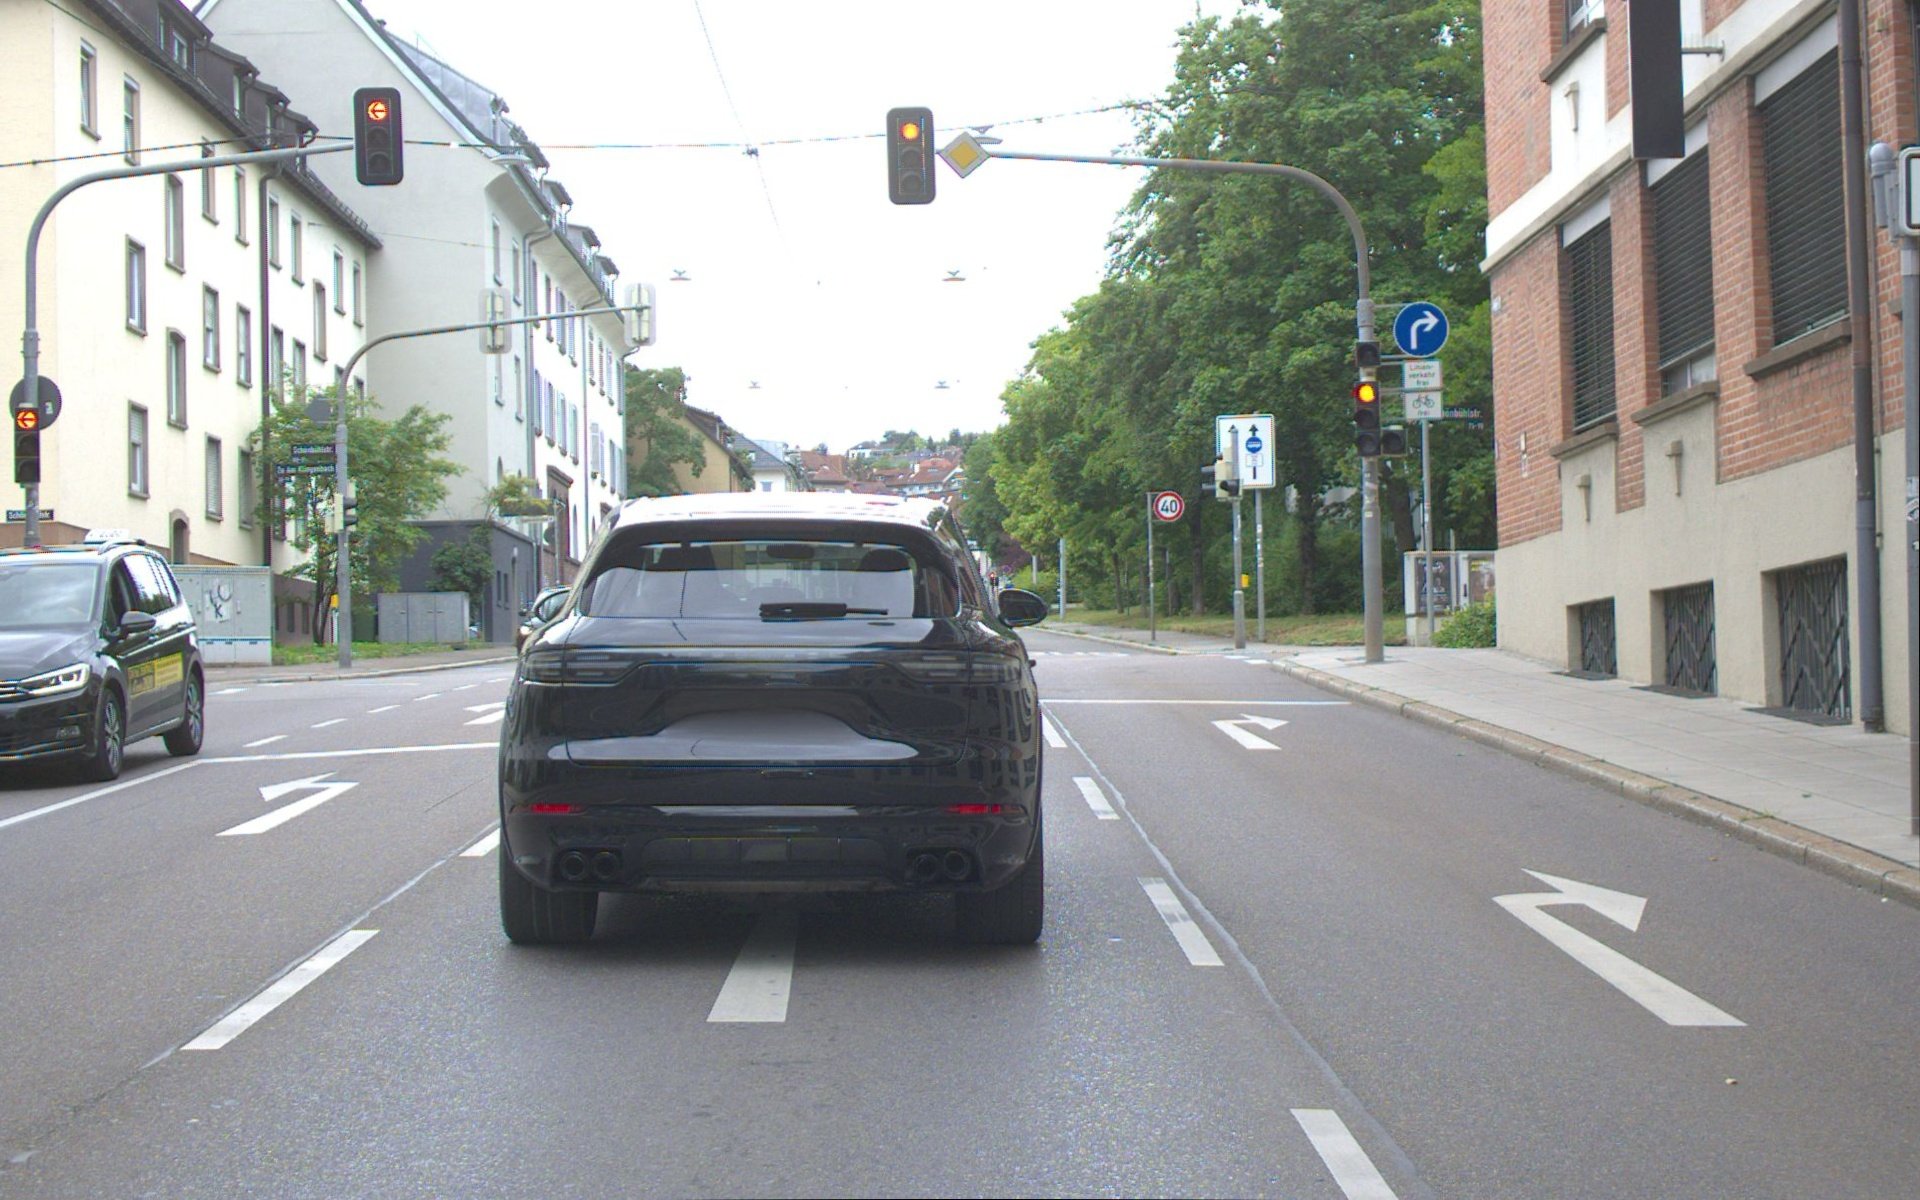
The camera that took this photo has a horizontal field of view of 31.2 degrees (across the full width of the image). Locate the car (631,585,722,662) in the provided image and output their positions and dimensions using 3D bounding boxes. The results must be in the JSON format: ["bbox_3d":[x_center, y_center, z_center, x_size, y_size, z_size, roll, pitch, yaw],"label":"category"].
[{"bbox_3d":[-6.531,0.518,79.455,1.703,1.581,3.937,-3,1,0],"label":"car"}]

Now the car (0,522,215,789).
[{"bbox_3d":[-6.639,0.364,24.435,1.783,1.701,4.307,-3,1,-2],"label":"car"}]

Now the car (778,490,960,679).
[{"bbox_3d":[-0.995,-0.211,39.456,1.965,2.035,4.135,0,1,0],"label":"car"}]

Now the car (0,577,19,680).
[{"bbox_3d":[-15.378,0.499,51.505,1.690,1.550,3.767,-3,1,-4],"label":"car"}]

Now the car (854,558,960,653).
[{"bbox_3d":[-0.917,0.068,61.413,1.827,1.599,4.135,0,1,0],"label":"car"}]

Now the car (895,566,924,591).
[{"bbox_3d":[-3.328,-1.421,228.031,1.827,1.599,4.135,0,1,0],"label":"car"}]

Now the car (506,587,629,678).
[{"bbox_3d":[-6.925,0.557,60.981,1.673,1.395,3.794,-3,1,0],"label":"car"}]

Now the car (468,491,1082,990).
[{"bbox_3d":[-0.625,0.430,13.663,2.048,1.660,4.267,0,1,0],"label":"car"}]

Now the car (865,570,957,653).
[{"bbox_3d":[-0.979,0.208,70.291,1.827,1.599,3.859,0,1,0],"label":"car"}]
